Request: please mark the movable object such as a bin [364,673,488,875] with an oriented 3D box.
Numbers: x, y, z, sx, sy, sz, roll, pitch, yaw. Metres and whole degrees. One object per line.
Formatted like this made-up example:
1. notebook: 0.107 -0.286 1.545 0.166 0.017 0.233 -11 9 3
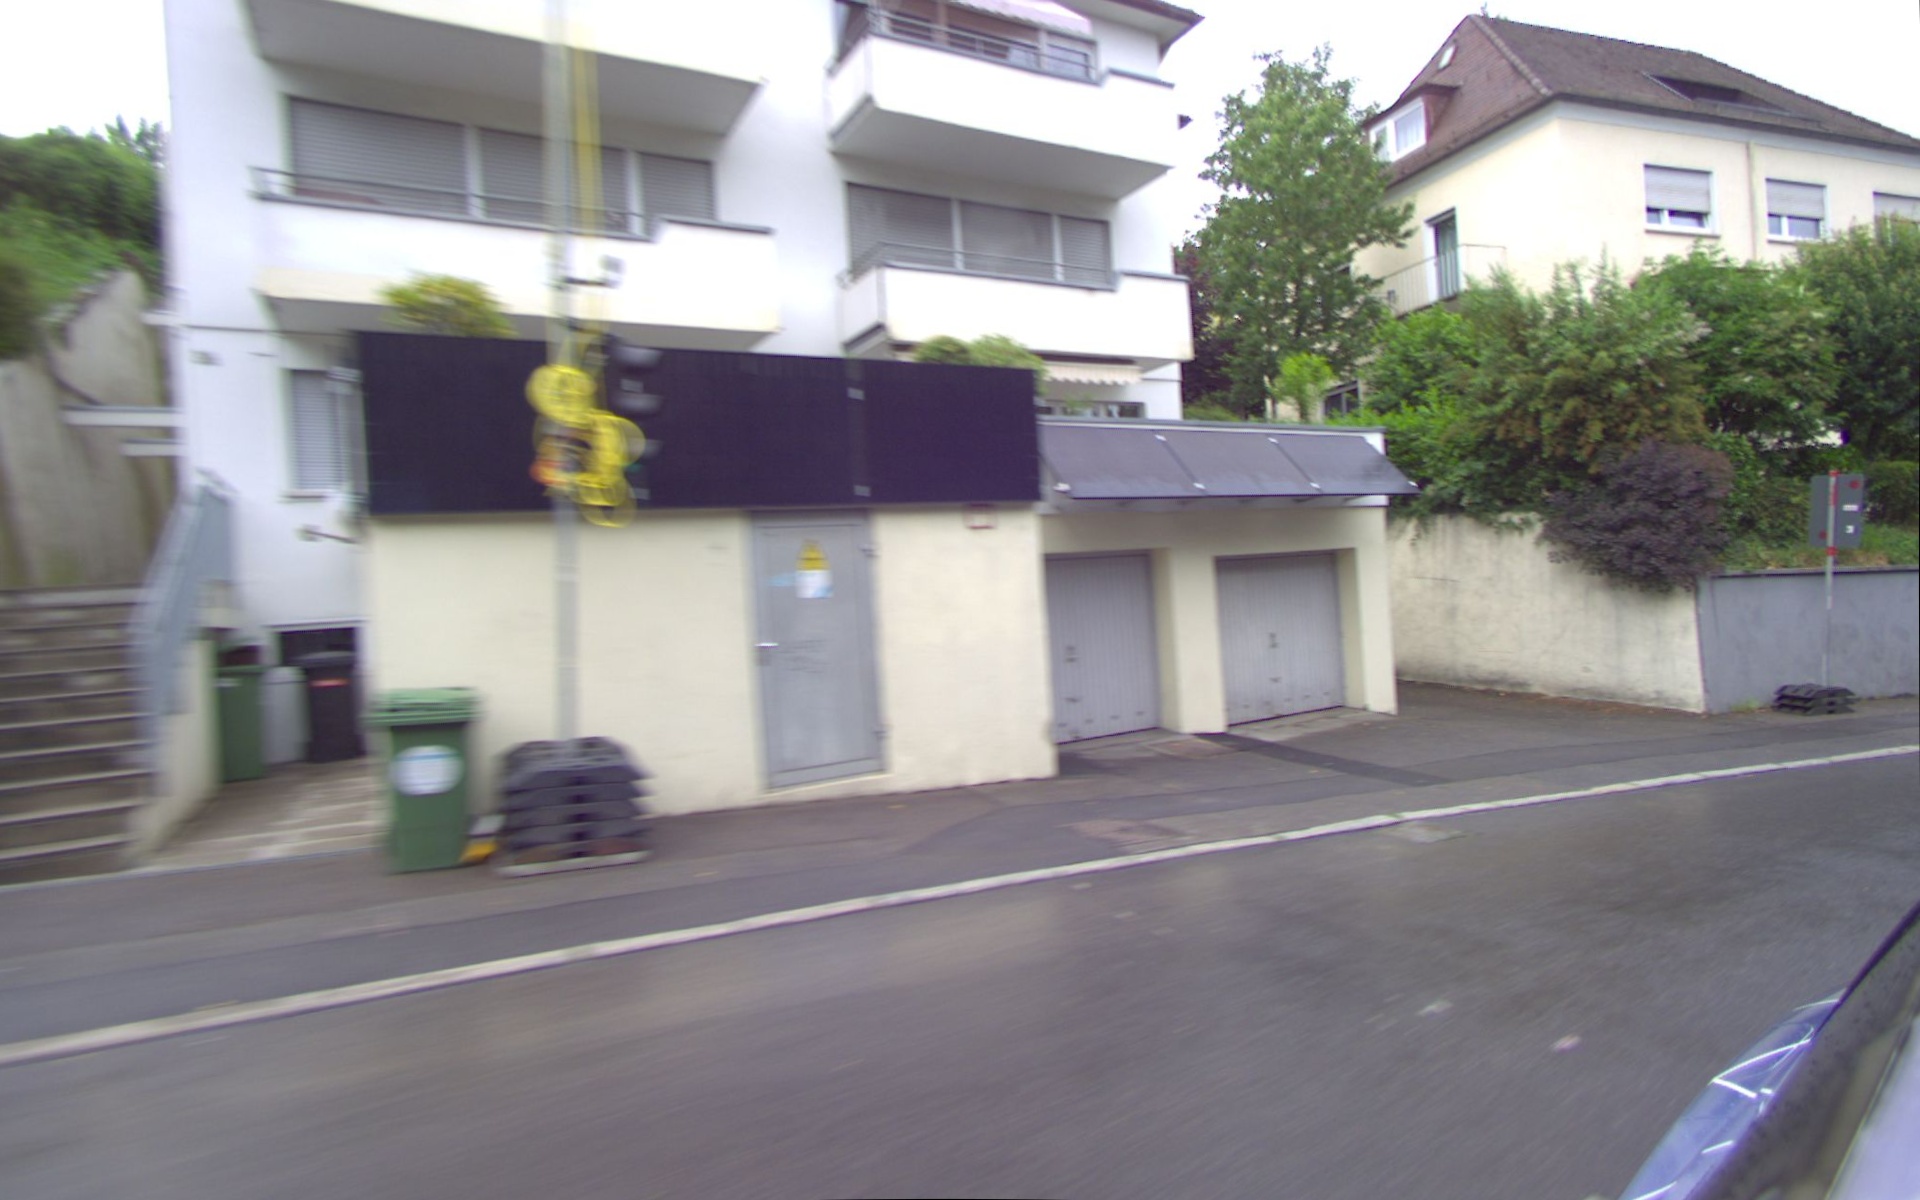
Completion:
1. movable object such as a bin: -3.159 0.994 6.039 0.580 1.045 0.723 -1 0 -22
